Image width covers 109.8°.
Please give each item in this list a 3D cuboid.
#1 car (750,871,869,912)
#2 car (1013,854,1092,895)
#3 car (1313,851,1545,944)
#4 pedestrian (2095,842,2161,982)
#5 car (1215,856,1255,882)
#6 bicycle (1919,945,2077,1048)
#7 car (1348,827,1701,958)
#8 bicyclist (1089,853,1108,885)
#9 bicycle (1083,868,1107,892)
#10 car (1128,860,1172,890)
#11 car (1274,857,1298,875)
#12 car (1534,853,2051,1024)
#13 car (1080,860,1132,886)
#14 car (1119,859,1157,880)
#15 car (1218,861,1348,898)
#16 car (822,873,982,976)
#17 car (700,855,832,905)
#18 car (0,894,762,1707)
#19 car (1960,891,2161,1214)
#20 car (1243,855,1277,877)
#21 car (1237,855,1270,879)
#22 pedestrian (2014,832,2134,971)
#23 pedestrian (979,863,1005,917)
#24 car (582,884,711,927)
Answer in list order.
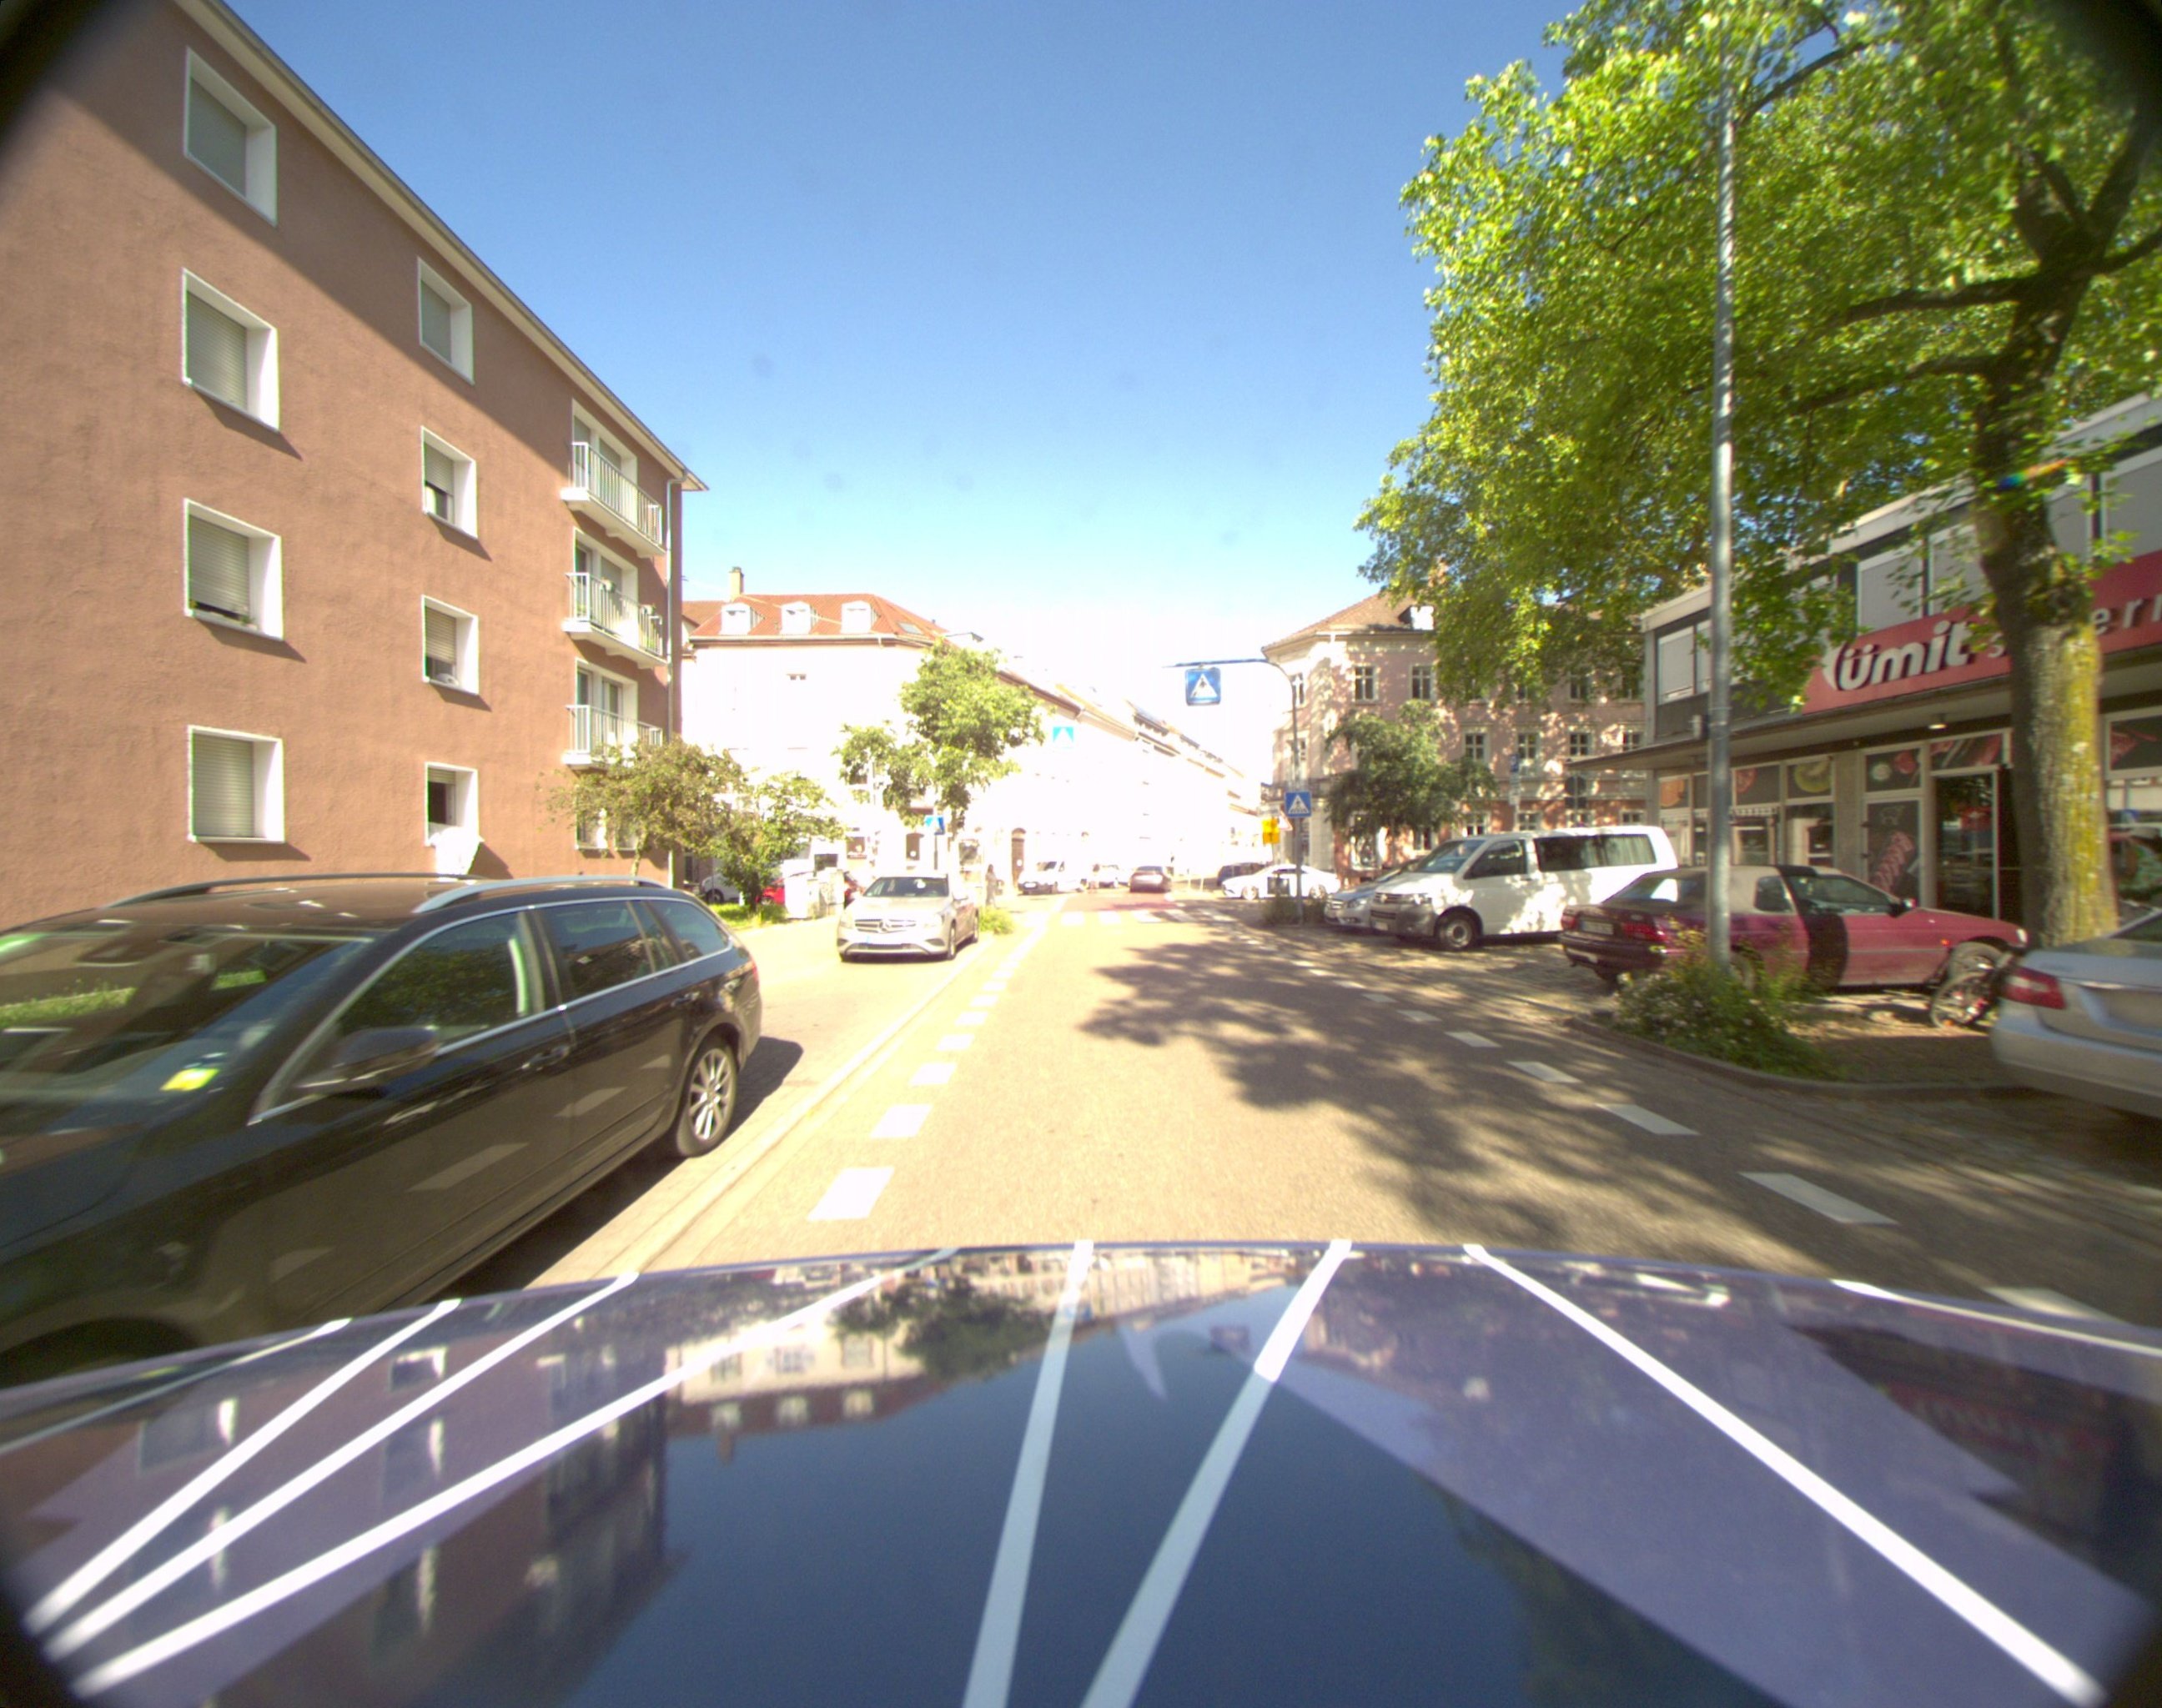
[{"bbox_3d":[-9.619,1.315,27.098,3.648,1.394,1.568,0,0,0],"label":"car"},{"bbox_3d":[-1.360,0.991,38.679,1.908,1.924,4.818,0,0,26],"label":"car"},{"bbox_3d":[7.072,0.845,15.722,3.997,1.781,1.757,0,0,-1],"label":"car"},{"bbox_3d":[12.162,0.644,8.684,0.474,1.547,0.499,-2,1,0],"label":"pedestrian"},{"bbox_3d":[10.044,0.942,49.270,1.670,1.628,4.055,0,0,24],"label":"car"},{"bbox_3d":[7.537,1.157,6.248,1.171,0.762,0.248,0,0,-8],"label":"bicycle"},{"bbox_3d":[7.482,0.620,13.148,4.996,1.958,1.909,-2,0,-2],"label":"car"},{"bbox_3d":[0.913,0.760,39.152,0.846,1.663,0.820,0,0,11],"label":"bicyclist"},{"bbox_3d":[0.746,1.302,38.688,0.874,1.179,2.293,0,0,10],"label":"bicycle"},{"bbox_3d":[3.585,1.039,39.000,1.997,1.455,4.003,-1,0,8],"label":"car"},{"bbox_3d":[19.125,1.074,70.860,1.516,1.652,4.007,0,0,24],"label":"car"},{"bbox_3d":[7.466,0.818,8.260,3.998,1.412,1.737,-3,0,-2],"label":"car"},{"bbox_3d":[1.577,1.121,46.689,2.130,1.487,3.951,-1,0,19],"label":"car"},{"bbox_3d":[4.036,1.061,53.164,1.632,1.412,3.299,0,0,23],"label":"car"},{"bbox_3d":[8.237,1.025,31.329,4.802,1.417,2.000,0,0,-1],"label":"car"},{"bbox_3d":[-2.863,1.080,13.064,1.736,1.420,4.000,0,0,1],"label":"car"},{"bbox_3d":[-13.275,1.087,32.268,4.756,2.002,1.999,0,0,-4],"label":"car"},{"bbox_3d":[-2.773,0.970,2.406,1.662,1.473,4.311,0,0,0],"label":"car"},{"bbox_3d":[6.789,0.886,3.308,3.998,1.390,1.759,0,0,-2],"label":"car"},{"bbox_3d":[13.741,0.907,58.202,1.854,1.652,4.007,0,0,24],"label":"car"},{"bbox_3d":[12.324,0.887,54.044,1.505,1.652,4.007,0,0,24],"label":"car"},{"bbox_3d":[11.586,0.534,8.884,0.529,1.547,0.663,-2,1,0],"label":"pedestrian"},{"bbox_3d":[-2.751,1.108,23.565,0.727,1.630,0.808,0,0,0],"label":"pedestrian"},{"bbox_3d":[-15.375,1.809,26.988,3.648,1.394,1.568,0,0,0],"label":"car"}]
